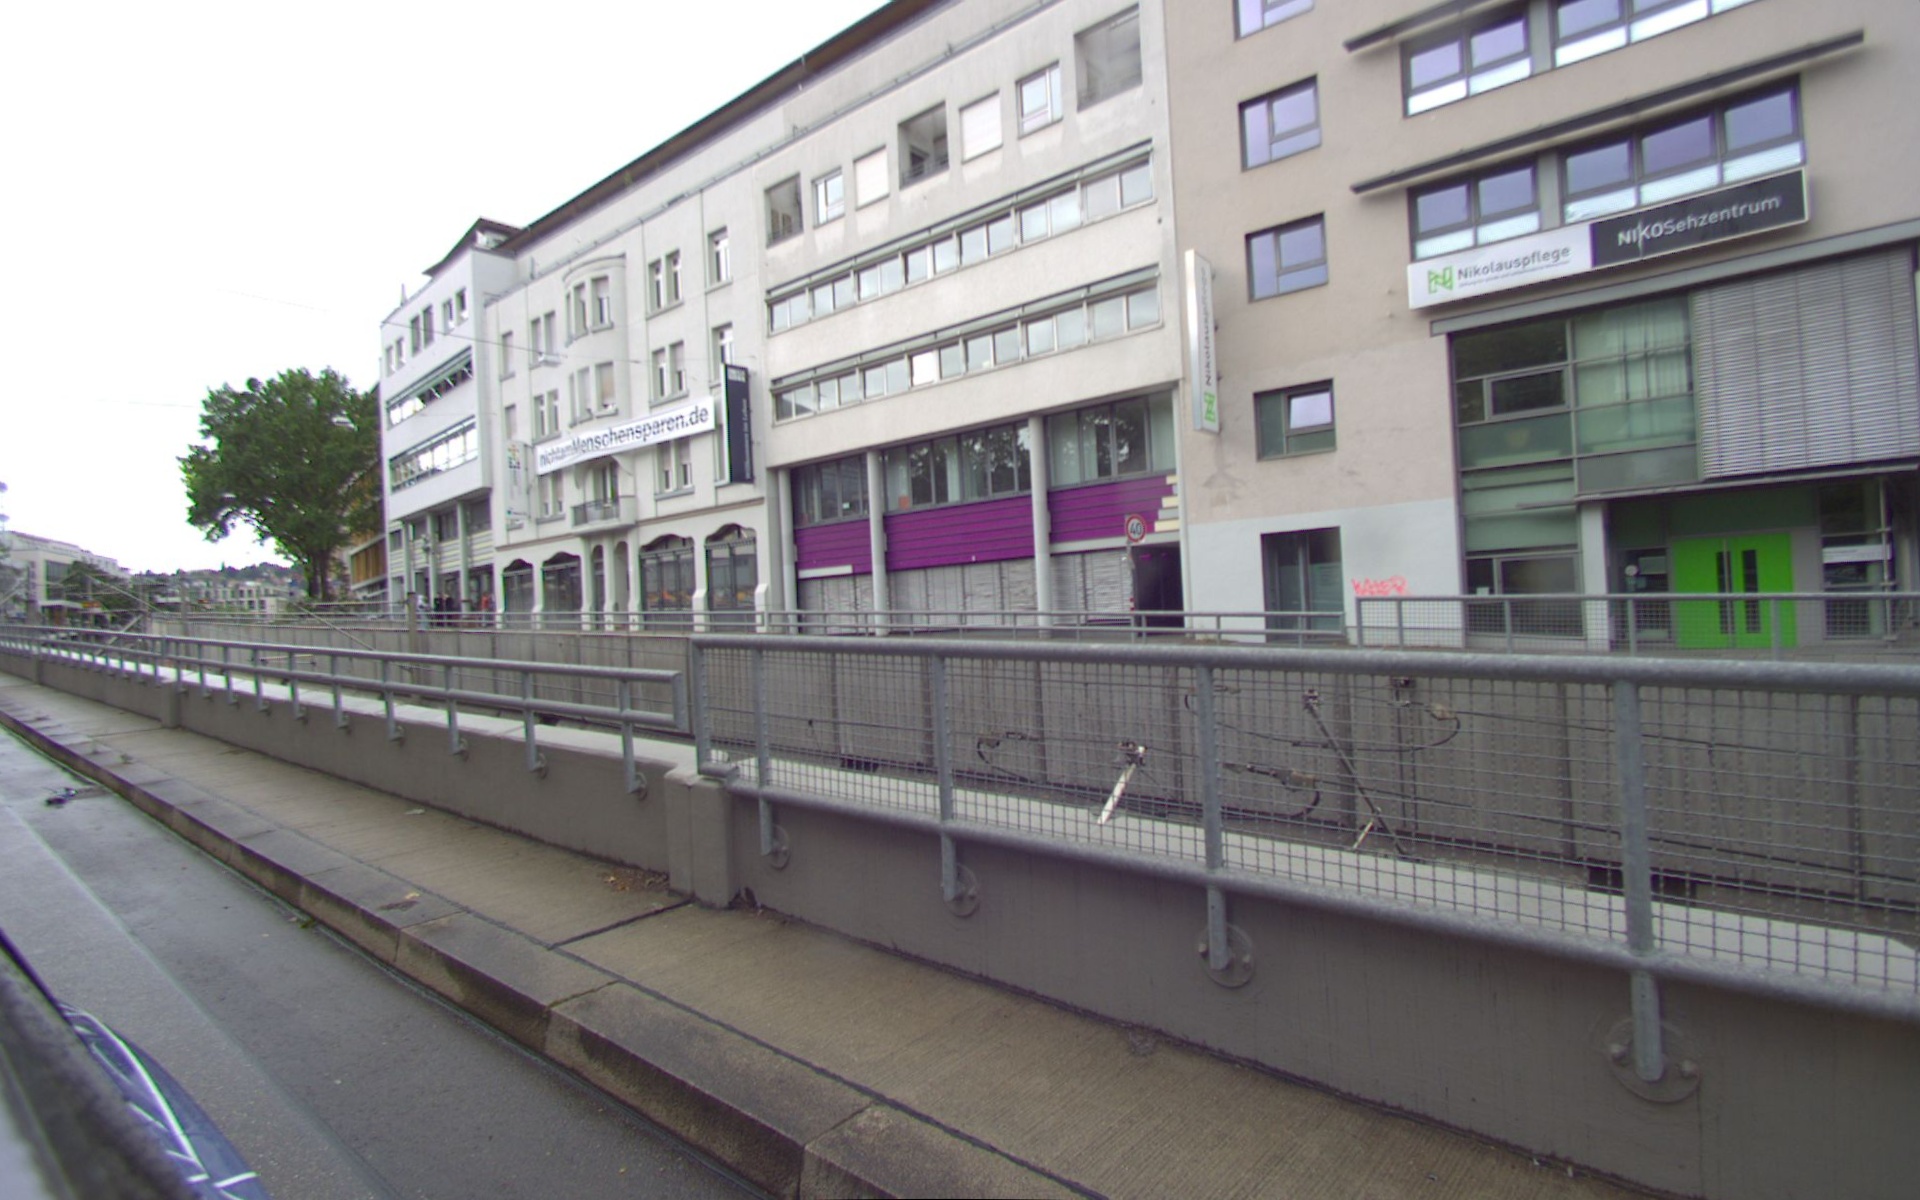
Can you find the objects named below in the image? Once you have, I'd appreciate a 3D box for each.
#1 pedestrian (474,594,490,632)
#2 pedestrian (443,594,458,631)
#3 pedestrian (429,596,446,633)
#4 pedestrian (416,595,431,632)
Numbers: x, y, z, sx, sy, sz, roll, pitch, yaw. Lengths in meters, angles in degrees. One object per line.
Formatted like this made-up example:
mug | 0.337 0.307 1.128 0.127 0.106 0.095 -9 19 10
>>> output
pedestrian | -23.029 0.629 48.755 0.547 1.816 0.464 -1 1 40
pedestrian | -25.420 0.627 50.477 0.547 1.816 0.463 -2 1 44
pedestrian | -26.434 0.727 51.225 0.469 1.816 0.541 -2 1 33
pedestrian | -26.787 0.672 50.526 0.463 1.816 0.548 -3 1 -42
